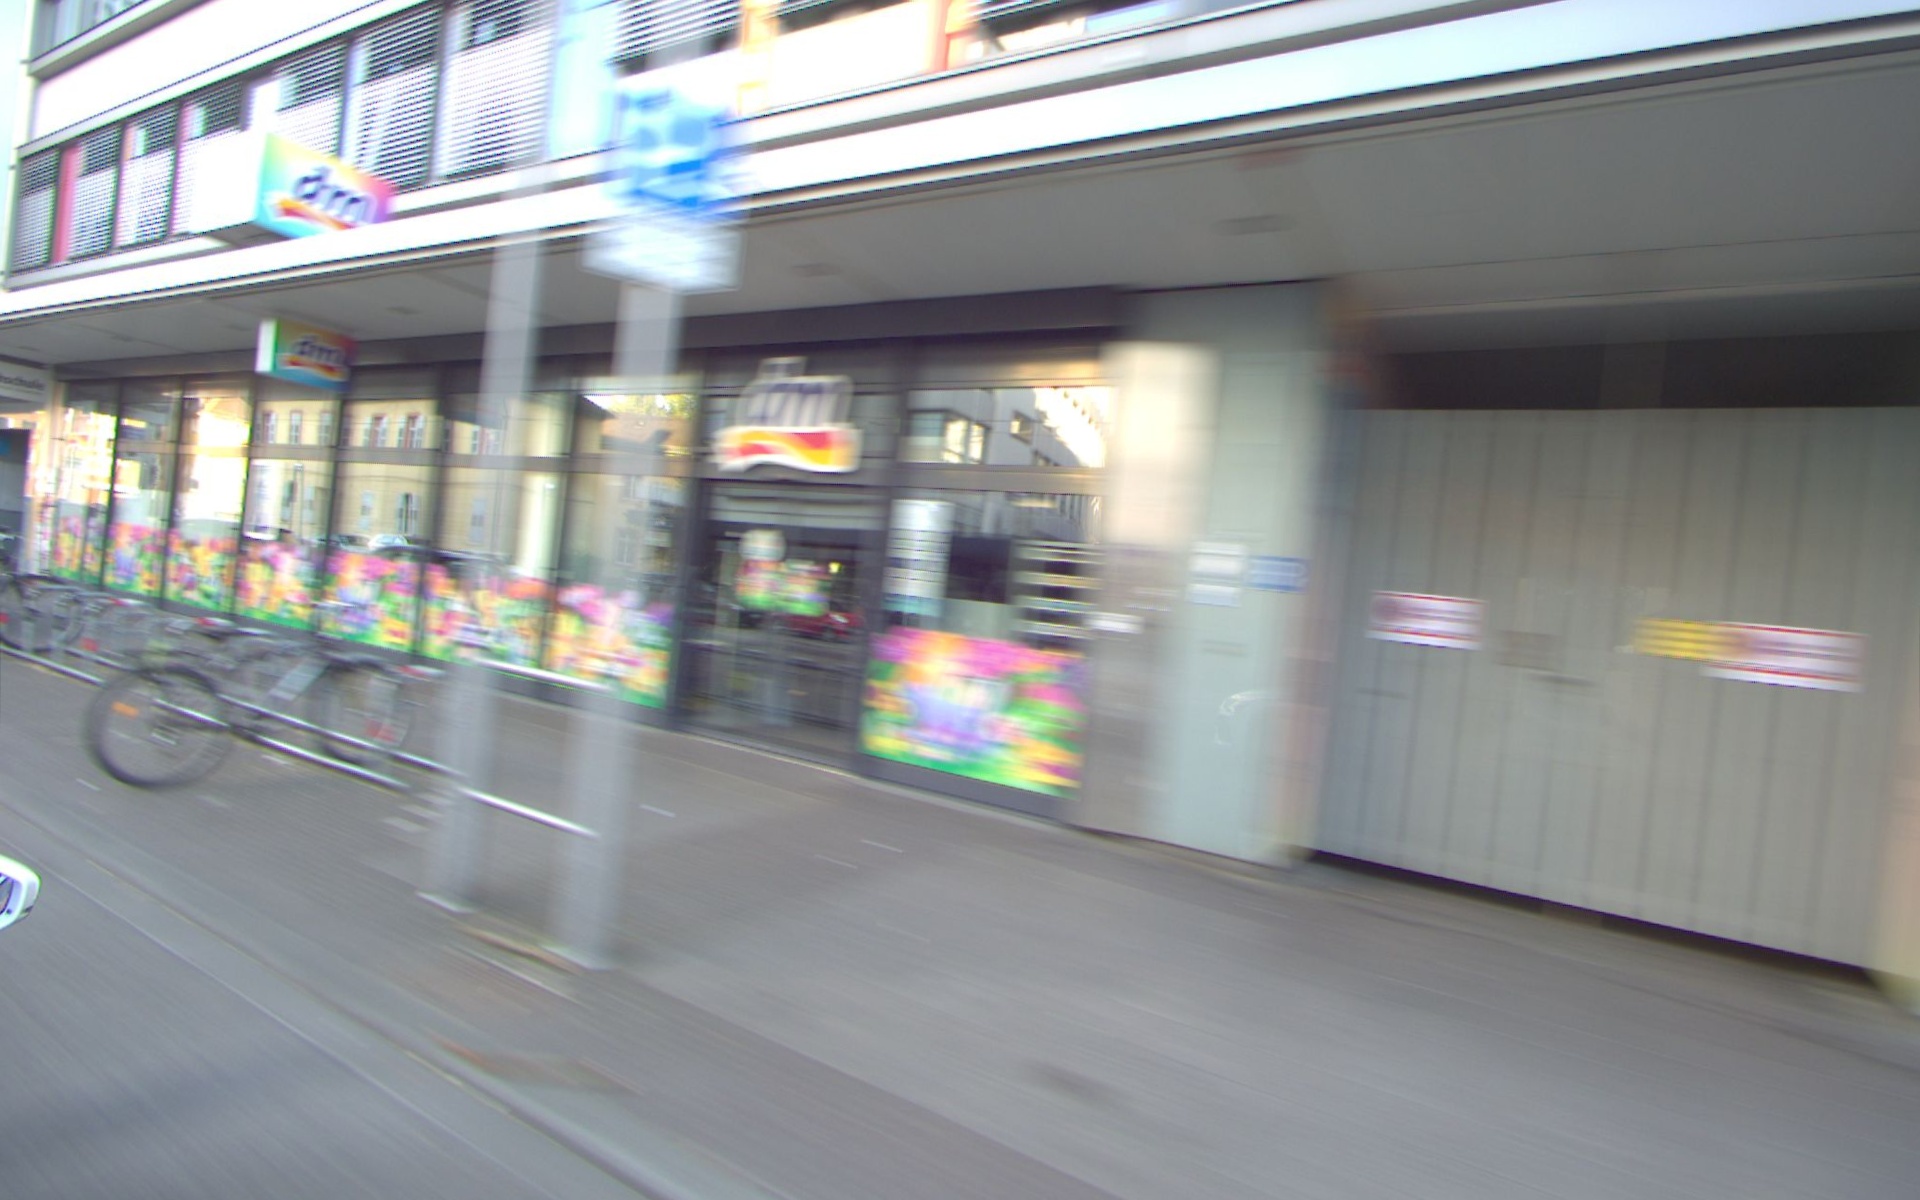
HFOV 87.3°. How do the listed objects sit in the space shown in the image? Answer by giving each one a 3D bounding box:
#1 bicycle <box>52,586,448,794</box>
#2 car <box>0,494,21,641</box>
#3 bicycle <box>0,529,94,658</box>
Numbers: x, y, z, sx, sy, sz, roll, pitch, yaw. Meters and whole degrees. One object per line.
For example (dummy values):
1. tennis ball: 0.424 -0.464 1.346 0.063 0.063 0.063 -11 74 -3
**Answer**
1. bicycle: -4.051 0.471 5.914 0.566 0.985 1.796 7 2 28
2. car: -11.762 -0.574 10.588 3.956 1.480 1.658 6 -2 32
3. bicycle: -8.898 -0.081 8.820 0.631 1.124 1.841 6 2 28
